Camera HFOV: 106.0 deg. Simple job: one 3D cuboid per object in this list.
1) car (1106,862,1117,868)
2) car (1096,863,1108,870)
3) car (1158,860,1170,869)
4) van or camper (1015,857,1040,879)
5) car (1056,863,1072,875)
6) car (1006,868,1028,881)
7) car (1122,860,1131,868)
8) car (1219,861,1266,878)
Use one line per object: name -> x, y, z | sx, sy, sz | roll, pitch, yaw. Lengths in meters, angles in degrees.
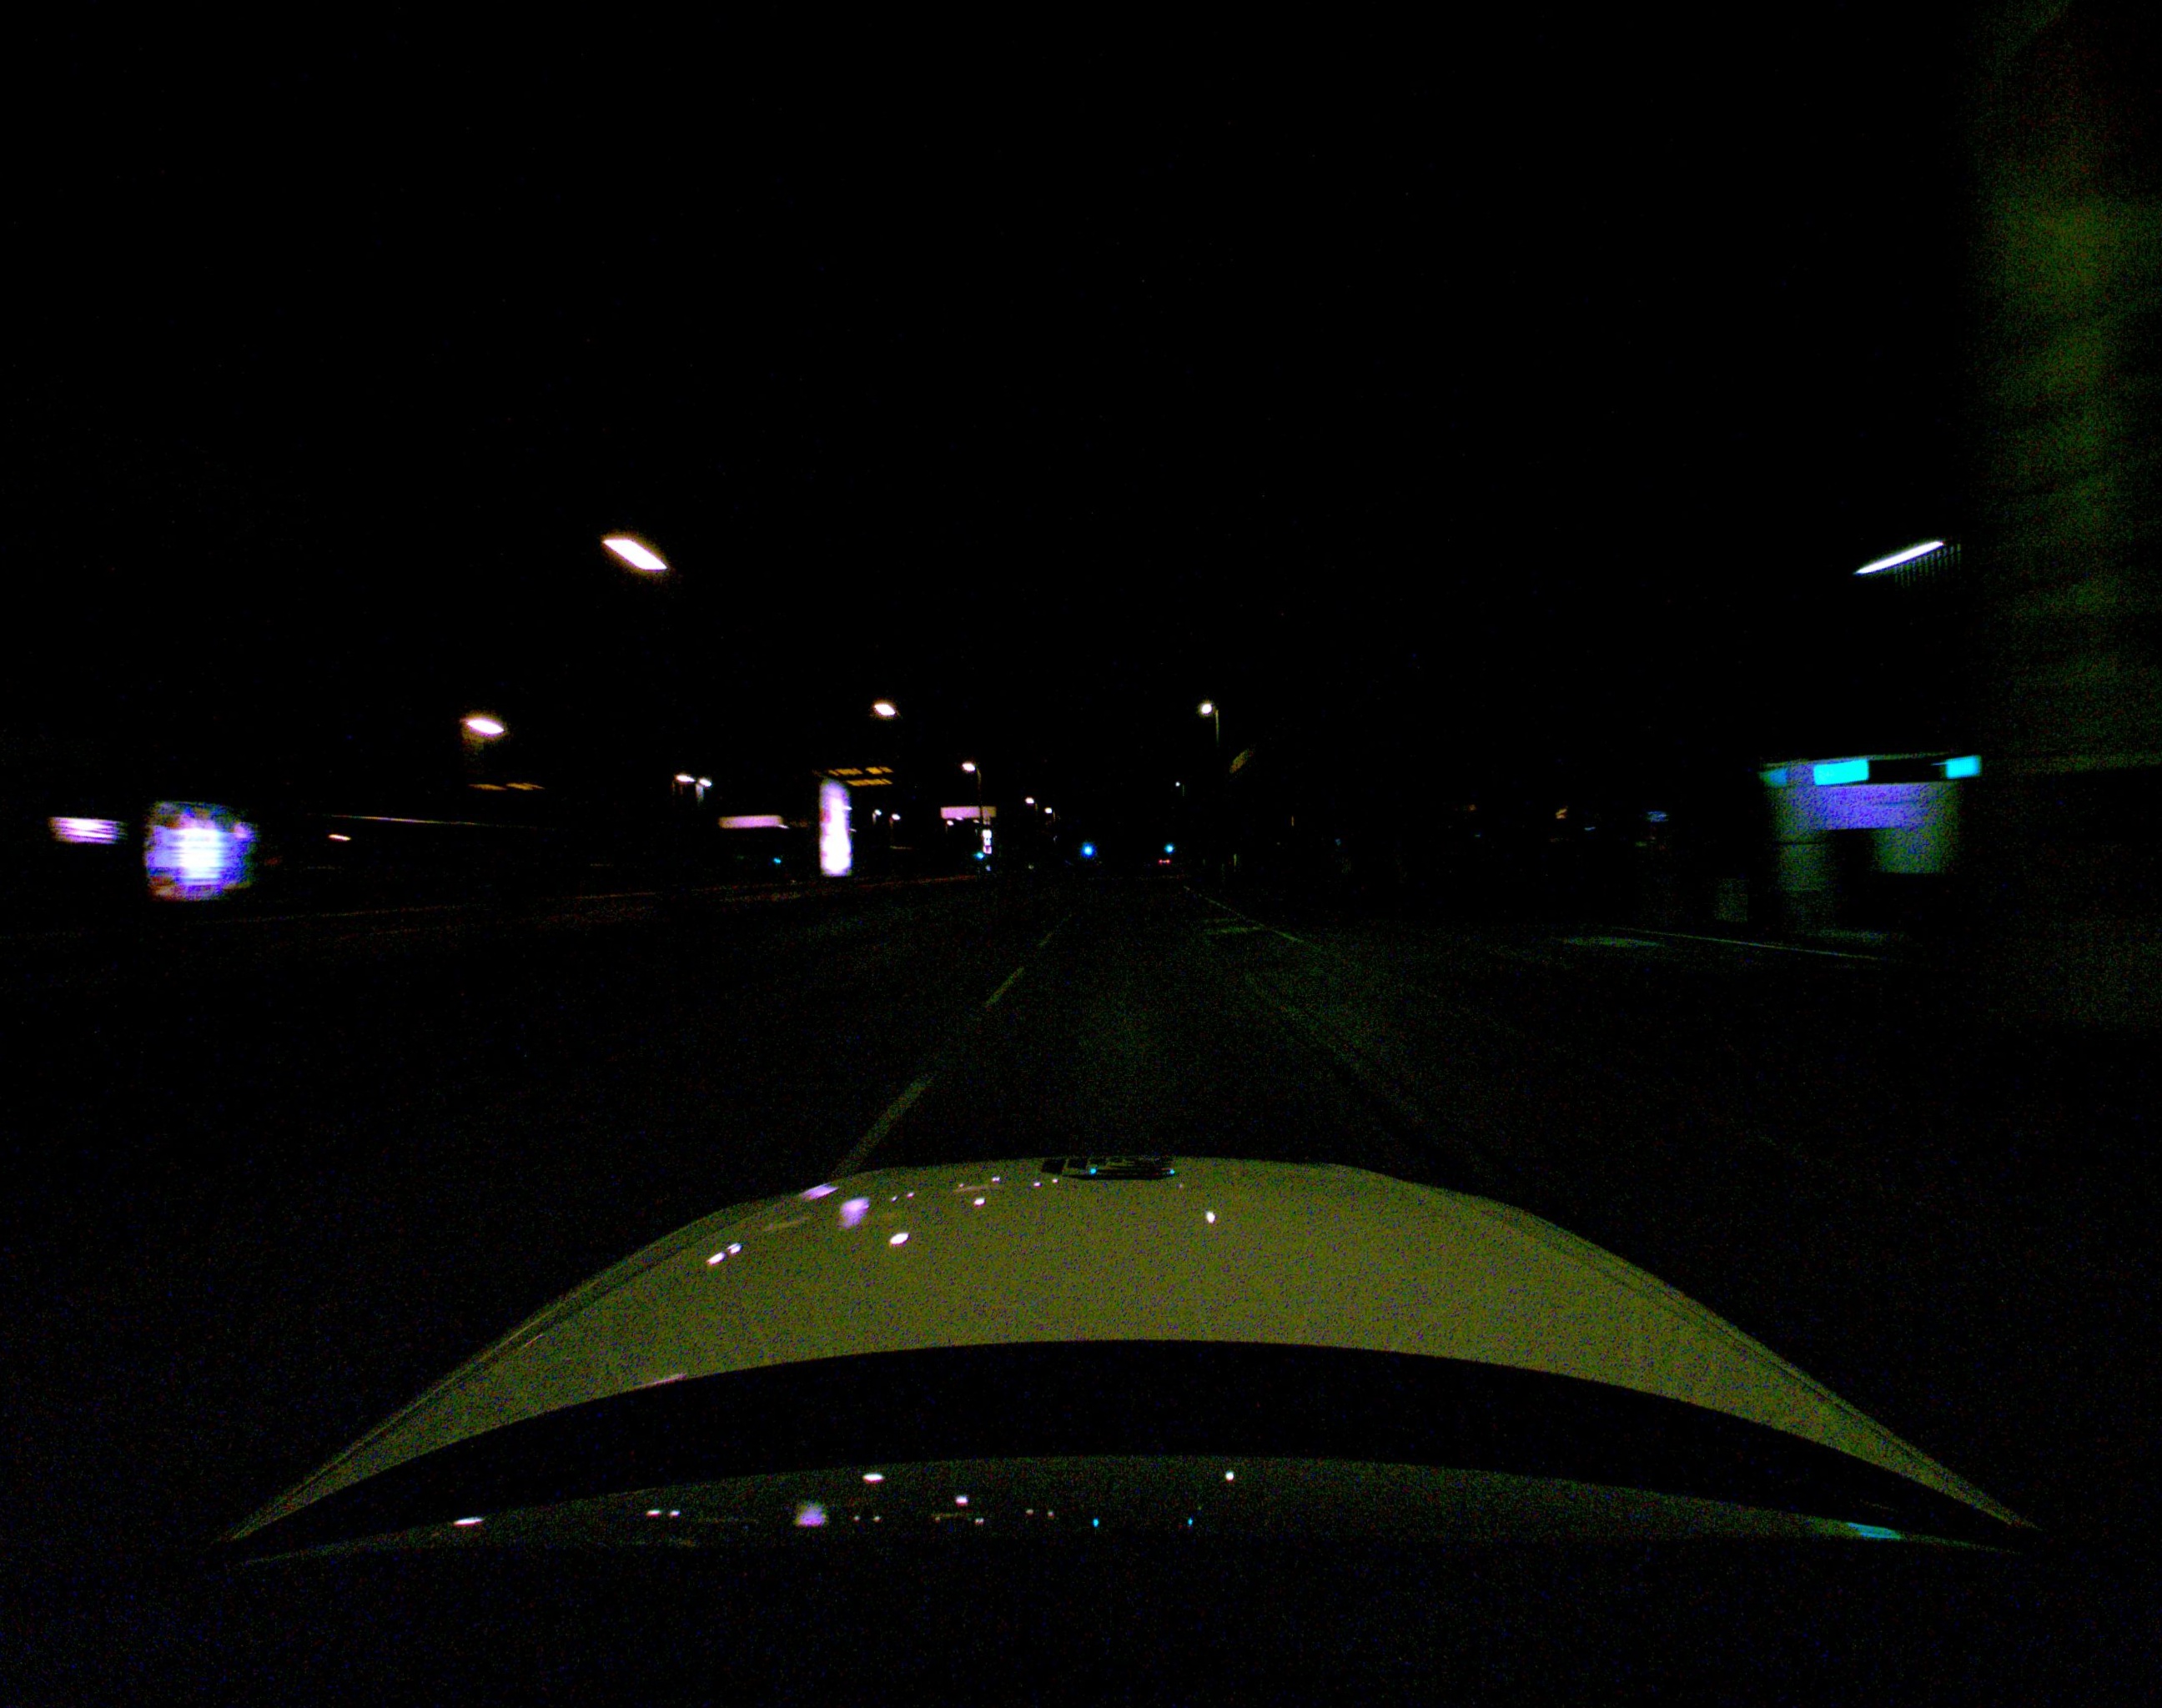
car -> 7.549, 2.645, 200.322 | 1.982, 1.338, 5.444 | -2, -1, 8
car -> 4.630, 2.751, 180.666 | 1.982, 1.628, 4.688 | -2, -1, 8
car -> 15.231, 2.007, 149.954 | 2.151, 1.583, 4.019 | -1, -1, 6
van or camper -> -6.939, 1.757, 106.022 | 2.262, 2.647, 5.671 | -4, -1, 4
car -> -2.733, 2.411, 132.824 | 1.848, 1.904, 4.888 | -1, -1, 6
car -> -7.801, 2.464, 99.626 | 1.637, 1.339, 4.552 | -6, -1, 8
car -> 12.930, 2.761, 230.387 | 2.080, 2.013, 4.009 | -6, -1, 8
car -> 13.727, 1.318, 69.383 | 3.745, 1.354, 1.862 | -2, -1, 6
